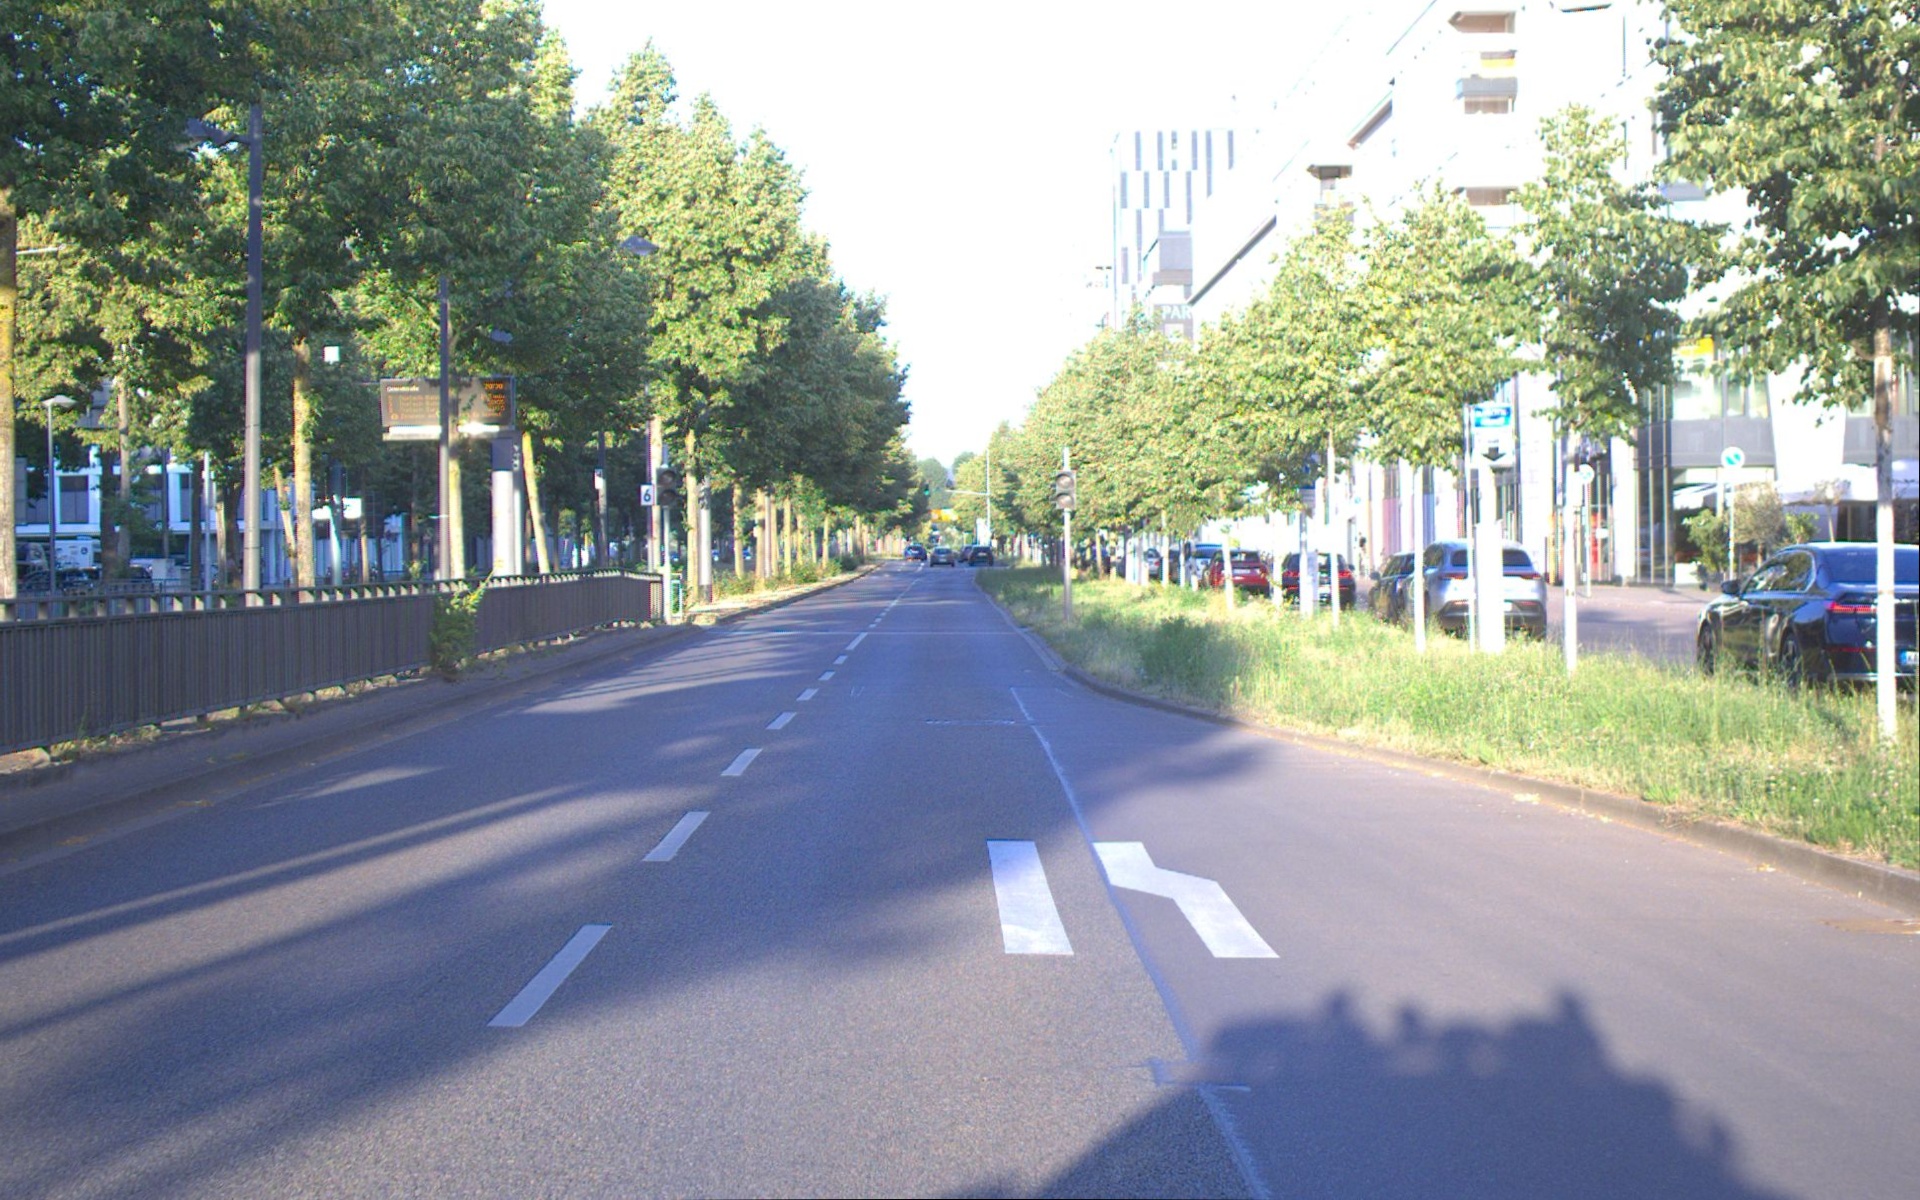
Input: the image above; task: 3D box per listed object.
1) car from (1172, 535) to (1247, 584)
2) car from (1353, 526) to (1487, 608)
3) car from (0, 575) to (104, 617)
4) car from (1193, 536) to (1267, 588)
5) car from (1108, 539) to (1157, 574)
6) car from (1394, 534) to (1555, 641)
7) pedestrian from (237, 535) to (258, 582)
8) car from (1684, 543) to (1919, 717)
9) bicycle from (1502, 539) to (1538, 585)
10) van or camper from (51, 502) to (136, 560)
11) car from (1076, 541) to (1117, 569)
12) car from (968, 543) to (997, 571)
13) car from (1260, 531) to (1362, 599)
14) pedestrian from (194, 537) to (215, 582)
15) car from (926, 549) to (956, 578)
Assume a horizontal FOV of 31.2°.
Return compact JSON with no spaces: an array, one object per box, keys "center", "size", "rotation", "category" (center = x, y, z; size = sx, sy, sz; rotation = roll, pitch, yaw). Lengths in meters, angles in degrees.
[{"center":[7.942,-1.309,109.858],"size":[1.920,1.495,5.010],"rotation":[0,1,-1],"category":"car"},{"center":[8.115,-0.604,60.891],"size":[1.749,1.393,4.000],"rotation":[0,1,-1],"category":"car"},{"center":[-30.475,-0.155,115.167],"size":[1.994,1.310,5.142],"rotation":[-1,1,4],"category":"car"},{"center":[8.013,-1.132,102.290],"size":[1.808,1.495,3.960],"rotation":[0,1,-1],"category":"car"},{"center":[7.554,-1.934,150.743],"size":[1.808,1.495,4.826],"rotation":[0,1,-1],"category":"car"},{"center":[8.223,-0.242,55.352],"size":[1.808,1.626,4.676],"rotation":[0,1,-1],"category":"car"},{"center":[-27.959,-1.629,134.885],"size":[0.693,1.864,0.866],"rotation":[-1,1,-8],"category":"pedestrian"},{"center":[8.505,0.217,32.922],"size":[1.919,1.495,5.411],"rotation":[0,1,-1],"category":"car"},{"center":[15.210,-1.028,93.434],"size":[0.617,1.227,1.671],"rotation":[-1,1,-2],"category":"bicycle"},{"center":[-47.360,-3.751,187.989],"size":[2.710,3.075,6.261],"rotation":[0,1,4],"category":"van or camper"},{"center":[7.738,-2.563,194.920],"size":[1.943,1.543,4.812],"rotation":[-1,1,-2],"category":"car"},{"center":[1.669,-3.209,256.590],"size":[1.993,2.007,4.000],"rotation":[0,1,-1],"category":"car"},{"center":[7.961,-0.812,78.330],"size":[1.808,1.495,4.369],"rotation":[0,1,-1],"category":"car"},{"center":[-29.483,-1.573,134.134],"size":[0.693,1.753,0.866],"rotation":[-1,1,-8],"category":"pedestrian"},{"center":[-1.392,-2.601,245.090],"size":[2.087,2.007,4.000],"rotation":[0,1,-1],"category":"car"}]
